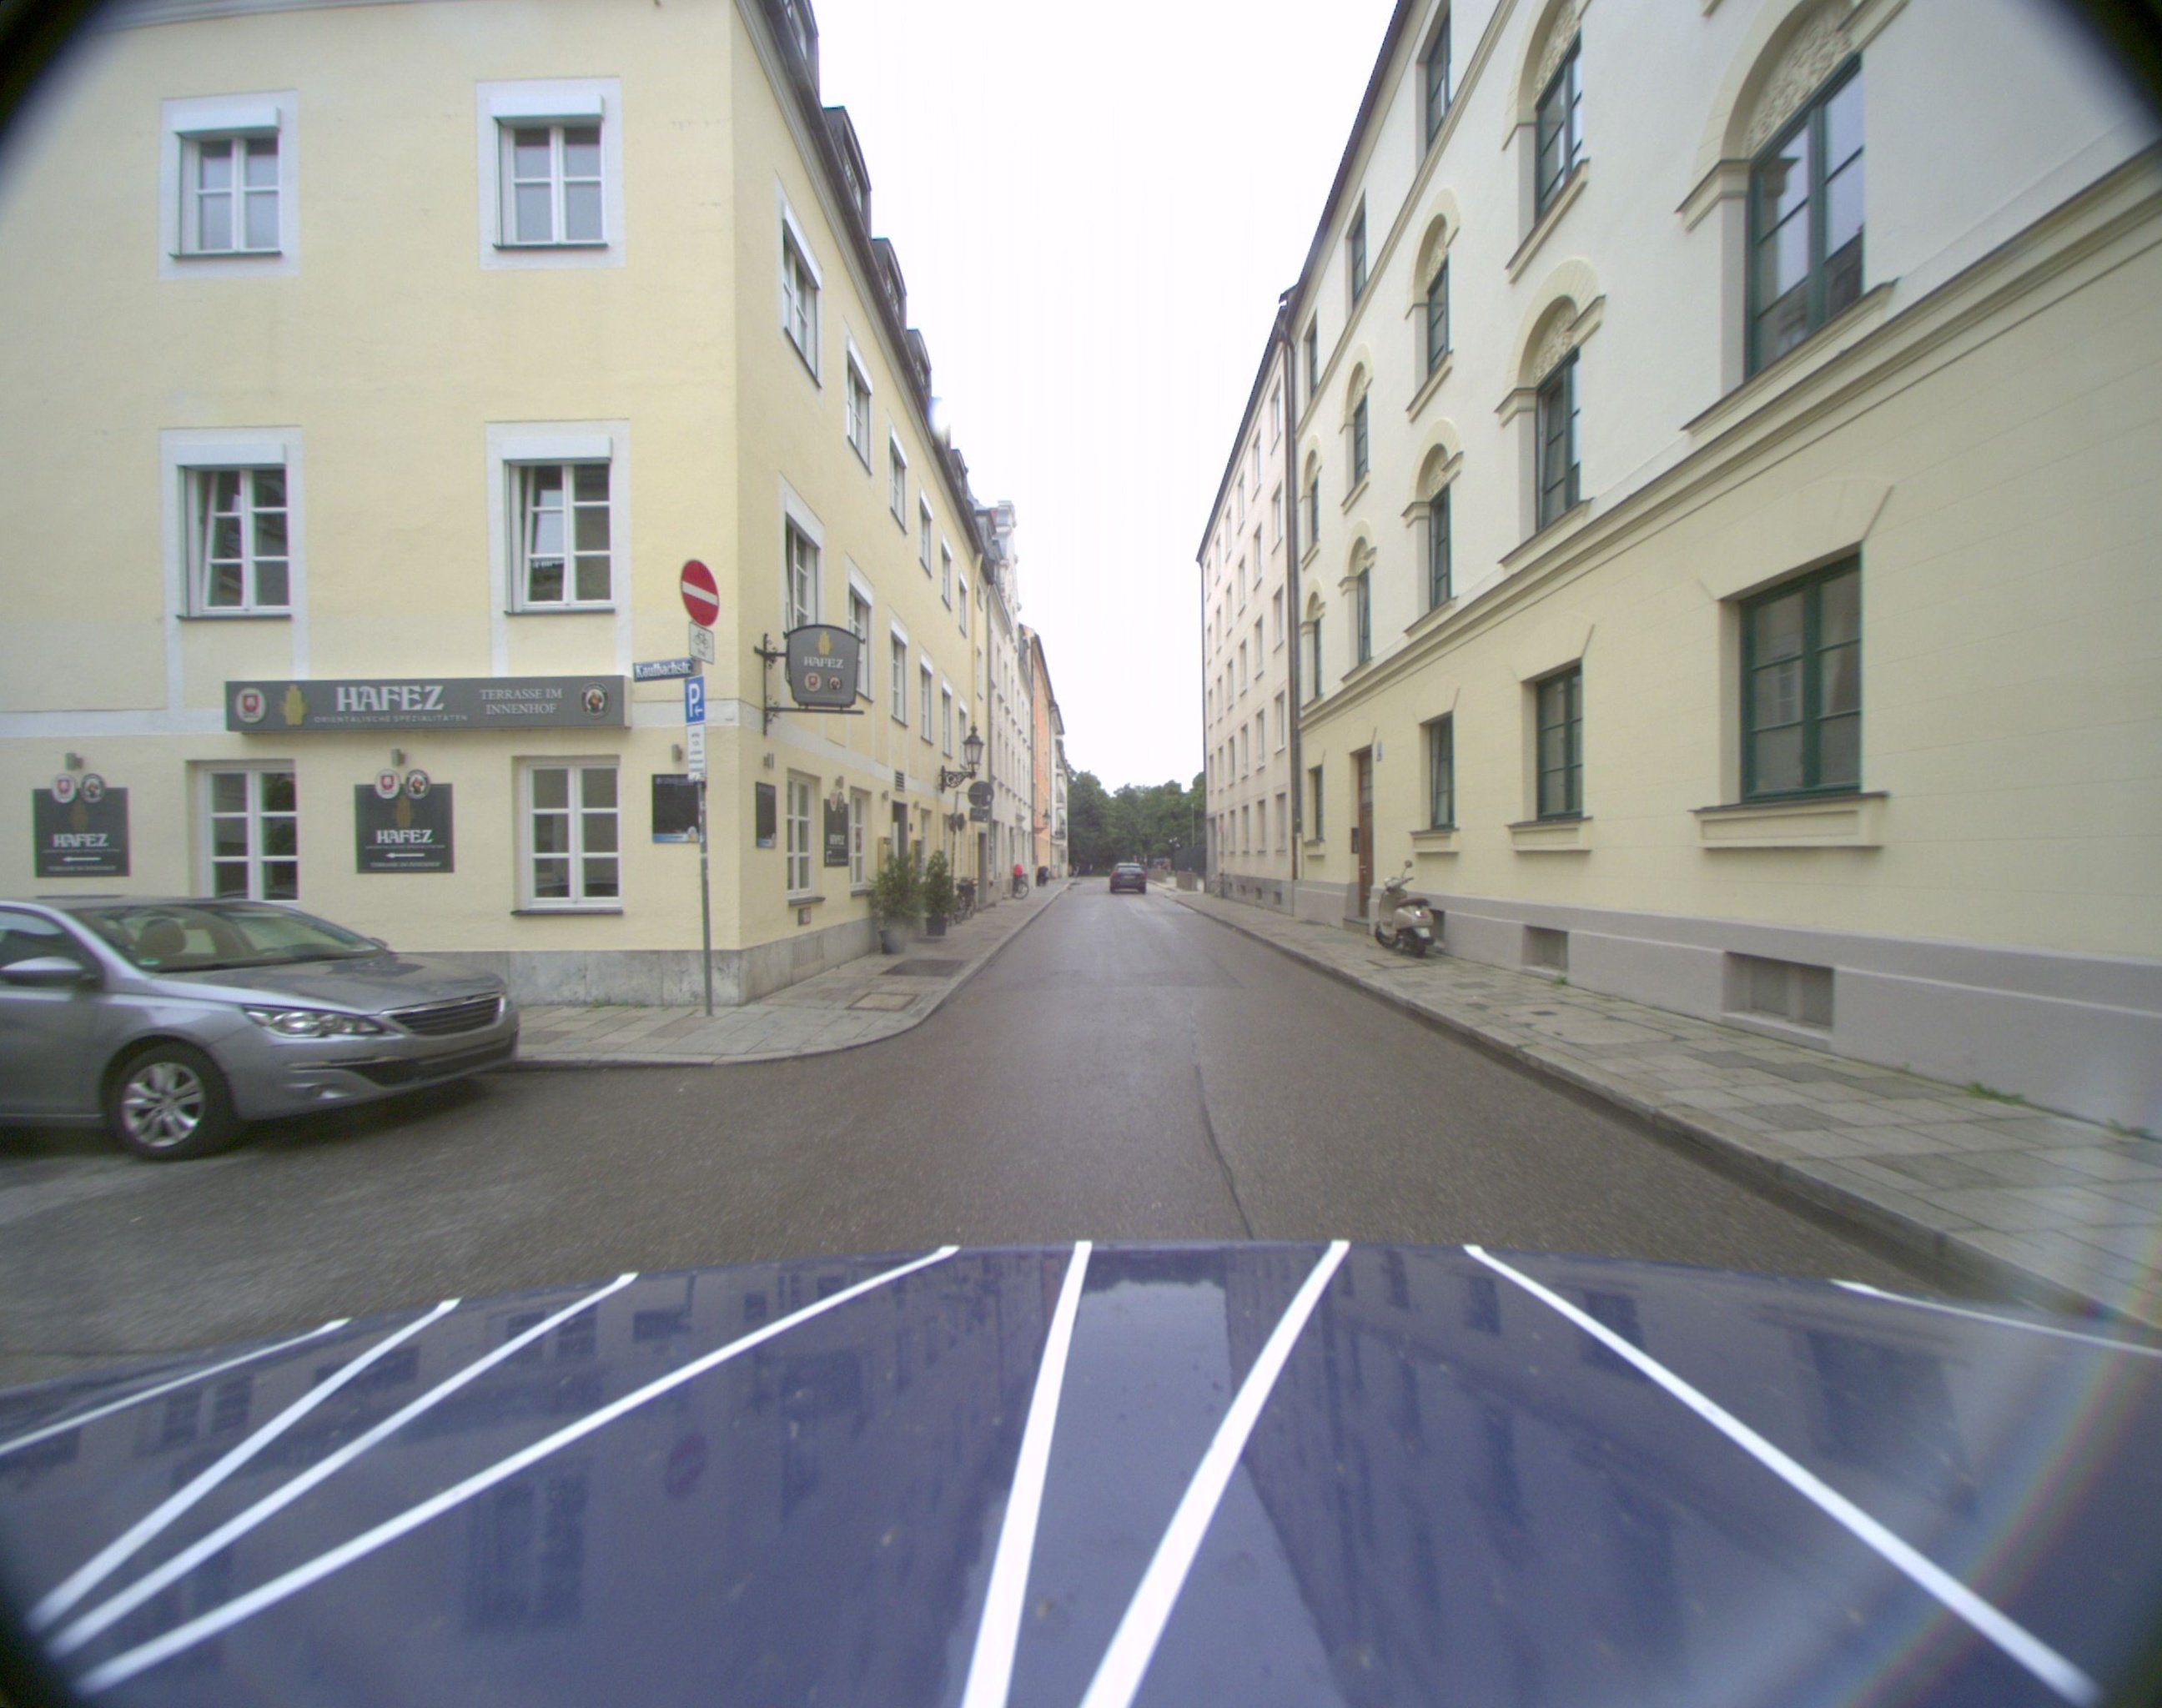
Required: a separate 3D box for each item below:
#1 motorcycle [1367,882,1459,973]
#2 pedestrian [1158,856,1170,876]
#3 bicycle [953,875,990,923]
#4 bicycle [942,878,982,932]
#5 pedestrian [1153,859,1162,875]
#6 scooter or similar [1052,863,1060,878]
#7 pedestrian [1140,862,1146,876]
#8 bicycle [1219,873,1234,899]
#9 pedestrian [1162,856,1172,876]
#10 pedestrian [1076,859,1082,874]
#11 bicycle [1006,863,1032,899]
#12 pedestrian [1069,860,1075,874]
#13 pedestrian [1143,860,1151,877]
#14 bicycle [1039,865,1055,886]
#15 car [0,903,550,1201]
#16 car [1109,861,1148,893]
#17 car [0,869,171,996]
[{"bbox_3d":[4.788,1.021,11.075,0.603,1.167,1.709,-1,0,2],"label":"motorcycle"},{"bbox_3d":[8.964,1.308,81.691,1.226,2.091,1.117,0,-1,3],"label":"pedestrian"},{"bbox_3d":[-2.827,1.139,19.695,0.567,1.130,1.988,2,0,2],"label":"bicycle"},{"bbox_3d":[-2.712,1.139,17.472,0.567,1.130,1.684,2,0,2],"label":"bicycle"},{"bbox_3d":[7.328,1.263,72.776,0.779,1.530,0.933,-2,-1,7],"label":"pedestrian"},{"bbox_3d":[-2.184,1.399,66.316,0.466,1.251,1.275,2,0,-12],"label":"scooter or similar"},{"bbox_3d":[7.706,1.910,94.614,0.625,1.758,0.767,0,-1,1],"label":"pedestrian"},{"bbox_3d":[5.674,1.237,29.649,0.320,0.938,1.574,-3,0,3],"label":"bicycle"},{"bbox_3d":[7.654,1.099,67.578,0.826,1.712,0.906,-2,-1,6],"label":"pedestrian"},{"bbox_3d":[-0.231,1.485,89.250,0.753,1.725,0.854,0,-1,0],"label":"pedestrian"},{"bbox_3d":[-2.507,1.063,30.778,0.715,1.388,2.122,2,0,4],"label":"bicycle"},{"bbox_3d":[-1.064,1.513,89.123,0.753,1.670,0.656,0,-1,0],"label":"pedestrian"},{"bbox_3d":[5.877,1.285,67.662,0.640,1.458,1.079,-2,-1,2],"label":"pedestrian"},{"bbox_3d":[-2.124,1.311,47.720,0.681,1.233,2.383,4,-1,3],"label":"bicycle"},{"bbox_3d":[-5.943,1.092,4.786,4.024,1.432,1.765,-1,-2,3],"label":"car"},{"bbox_3d":[2.414,1.147,39.176,1.816,1.584,4.001,0,-1,1],"label":"car"},{"bbox_3d":[-15.136,1.070,9.838,1.807,1.641,4.001,-1,0,2],"label":"car"}]
